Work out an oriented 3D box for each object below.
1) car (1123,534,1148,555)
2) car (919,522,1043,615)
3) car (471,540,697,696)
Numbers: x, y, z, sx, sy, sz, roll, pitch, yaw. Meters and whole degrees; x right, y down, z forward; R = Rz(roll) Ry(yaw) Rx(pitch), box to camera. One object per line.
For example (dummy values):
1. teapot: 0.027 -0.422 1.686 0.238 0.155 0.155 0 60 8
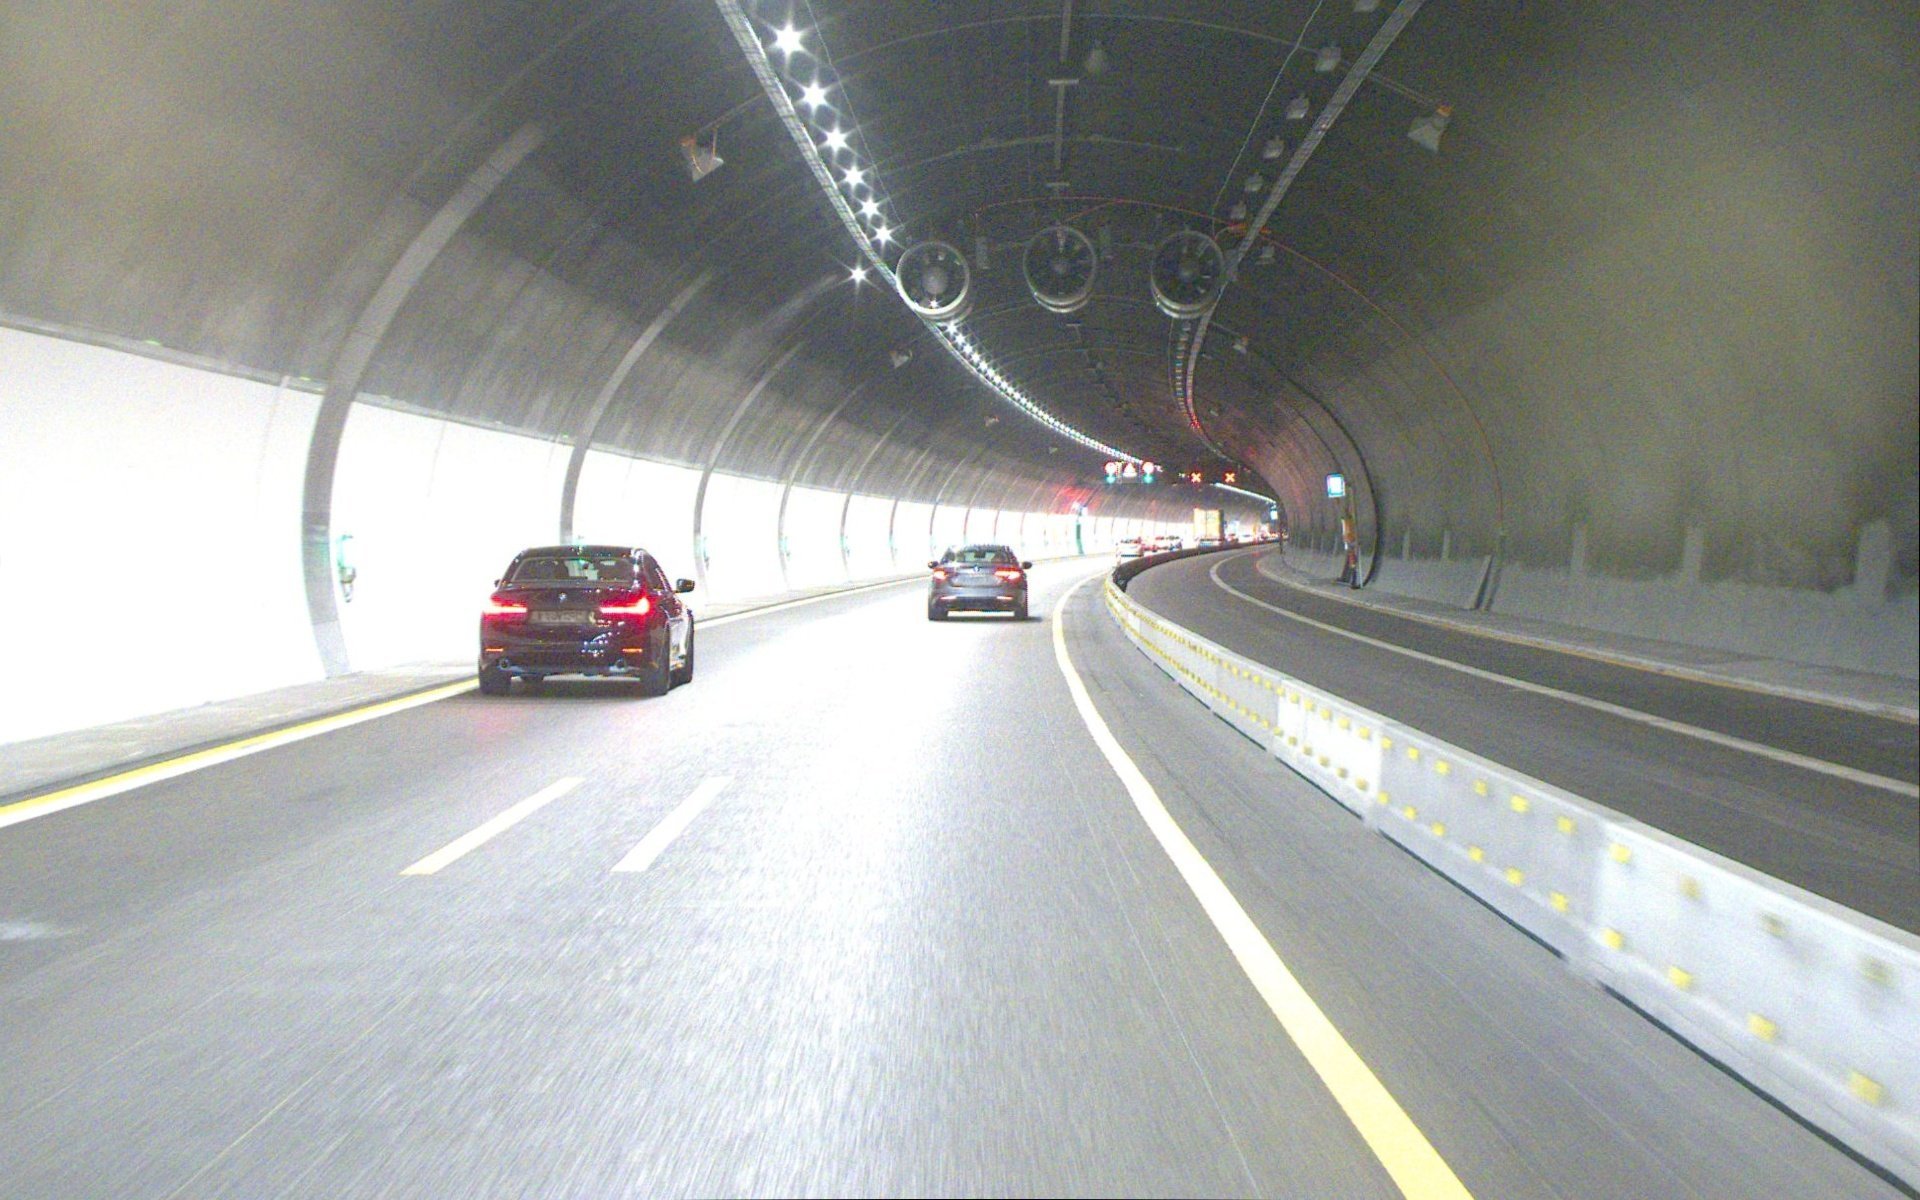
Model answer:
1. car: 11.374 -3.585 222.885 1.595 1.328 3.750 1 1 4
2. car: 0.435 -0.625 65.462 2.141 1.700 4.000 0 1 3
3. car: -3.719 0.127 34.746 1.778 1.433 4.883 1 1 0
